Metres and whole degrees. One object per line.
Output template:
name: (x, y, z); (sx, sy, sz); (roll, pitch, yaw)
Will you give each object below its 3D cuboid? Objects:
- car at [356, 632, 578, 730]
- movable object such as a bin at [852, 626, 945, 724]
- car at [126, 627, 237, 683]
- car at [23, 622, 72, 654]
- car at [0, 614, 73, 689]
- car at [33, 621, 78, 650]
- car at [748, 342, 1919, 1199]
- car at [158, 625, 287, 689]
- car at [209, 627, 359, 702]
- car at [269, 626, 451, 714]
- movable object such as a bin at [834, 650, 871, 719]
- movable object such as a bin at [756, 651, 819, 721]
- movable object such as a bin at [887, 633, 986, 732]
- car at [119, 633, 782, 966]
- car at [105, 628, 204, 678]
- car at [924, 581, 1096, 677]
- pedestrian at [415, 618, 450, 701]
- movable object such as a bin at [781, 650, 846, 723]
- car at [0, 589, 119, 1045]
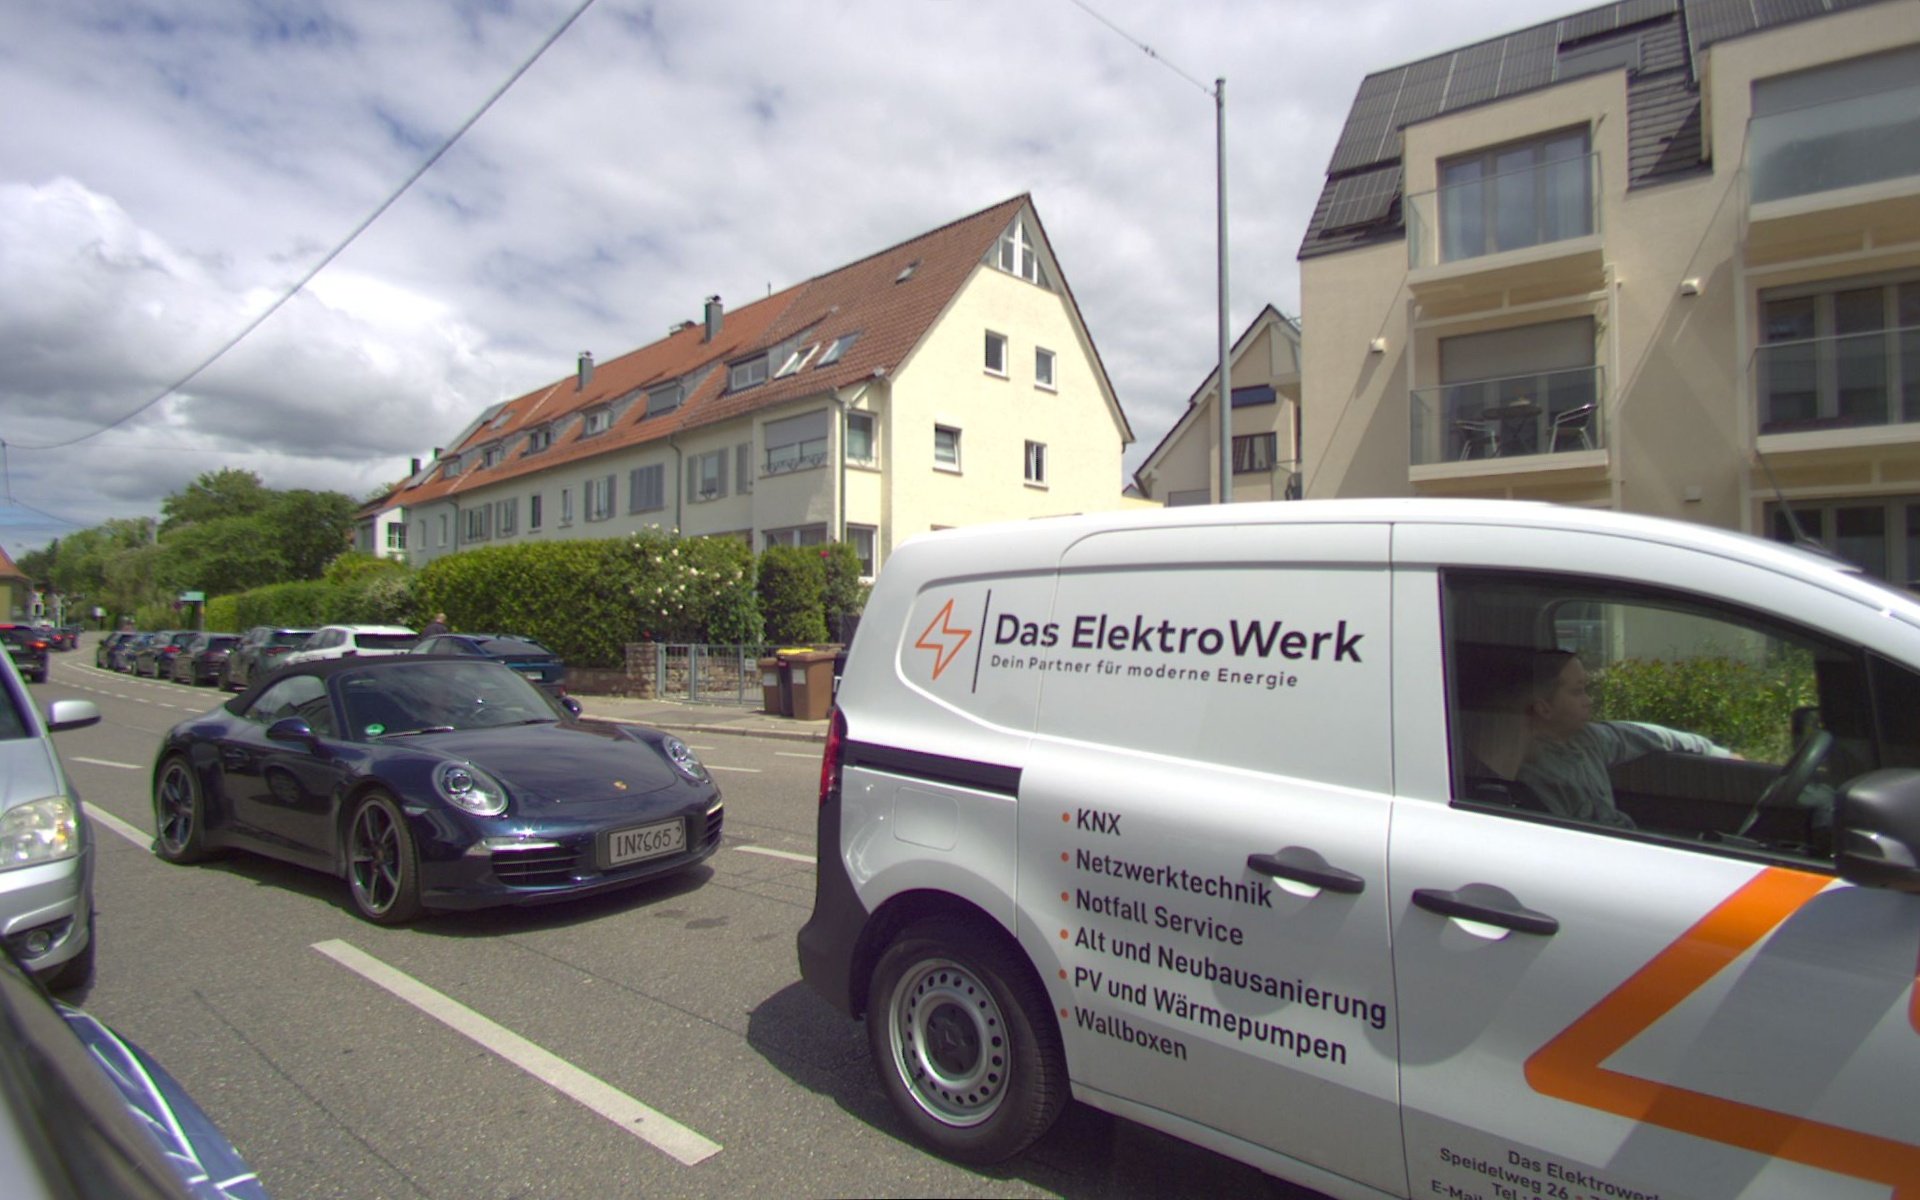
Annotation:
car: (-8.811, 1.327, 17.948); (4.447, 1.513, 1.796); (-1, -2, 38)
movable object such as a bin: (-0.959, 1.148, 15.879); (0.980, 1.457, 1.078); (-2, -2, 40)
car: (-24.728, 1.700, 32.112); (4.234, 1.645, 1.973); (-2, -2, 41)
car: (-56.066, 2.308, 62.265); (1.968, 1.929, 4.077); (1, -2, -39)
car: (-26.026, 1.382, 27.871); (4.069, 1.929, 1.972); (-2, -2, 43)
car: (-60.646, 2.364, 67.921); (1.968, 1.929, 4.077); (1, -2, -39)
car: (1.593, 0.548, 2.530); (4.414, 1.825, 1.798); (-1, -2, 39)
car: (-20.611, 1.543, 28.238); (4.234, 1.645, 1.973); (-2, -3, 41)
car: (-16.480, 1.494, 24.613); (4.234, 1.645, 1.973); (-2, -2, 41)
car: (-12.674, 1.377, 21.269); (4.450, 1.645, 1.973); (-2, -2, 41)
movable object such as a bin: (-1.727, 1.349, 16.328); (0.516, 1.073, 0.656); (0, -1, 2)
movable object such as a bin: (-2.798, 1.371, 16.417); (0.752, 1.073, 0.693); (1, -2, -42)
movable object such as a bin: (-0.344, 1.185, 14.917); (0.980, 1.373, 1.078); (-2, -2, 40)
car: (-3.188, 0.900, 6.122); (4.032, 1.374, 1.796); (-1, -2, 33)
car: (-28.414, 1.825, 35.663); (4.234, 1.645, 1.973); (-2, -2, 41)
car: (1.239, 0.653, 23.490); (1.999, 2.029, 3.946); (-1, -2, 40)
pedestrian: (-11.828, 1.312, 22.698); (0.511, 1.829, 0.526); (-1, -2, 36)
movable object such as a bin: (-2.305, 1.339, 15.880); (0.752, 1.073, 0.693); (1, -2, -42)
car: (-5.227, 0.790, 4.424); (3.999, 1.587, 1.751); (-2, -2, 41)
